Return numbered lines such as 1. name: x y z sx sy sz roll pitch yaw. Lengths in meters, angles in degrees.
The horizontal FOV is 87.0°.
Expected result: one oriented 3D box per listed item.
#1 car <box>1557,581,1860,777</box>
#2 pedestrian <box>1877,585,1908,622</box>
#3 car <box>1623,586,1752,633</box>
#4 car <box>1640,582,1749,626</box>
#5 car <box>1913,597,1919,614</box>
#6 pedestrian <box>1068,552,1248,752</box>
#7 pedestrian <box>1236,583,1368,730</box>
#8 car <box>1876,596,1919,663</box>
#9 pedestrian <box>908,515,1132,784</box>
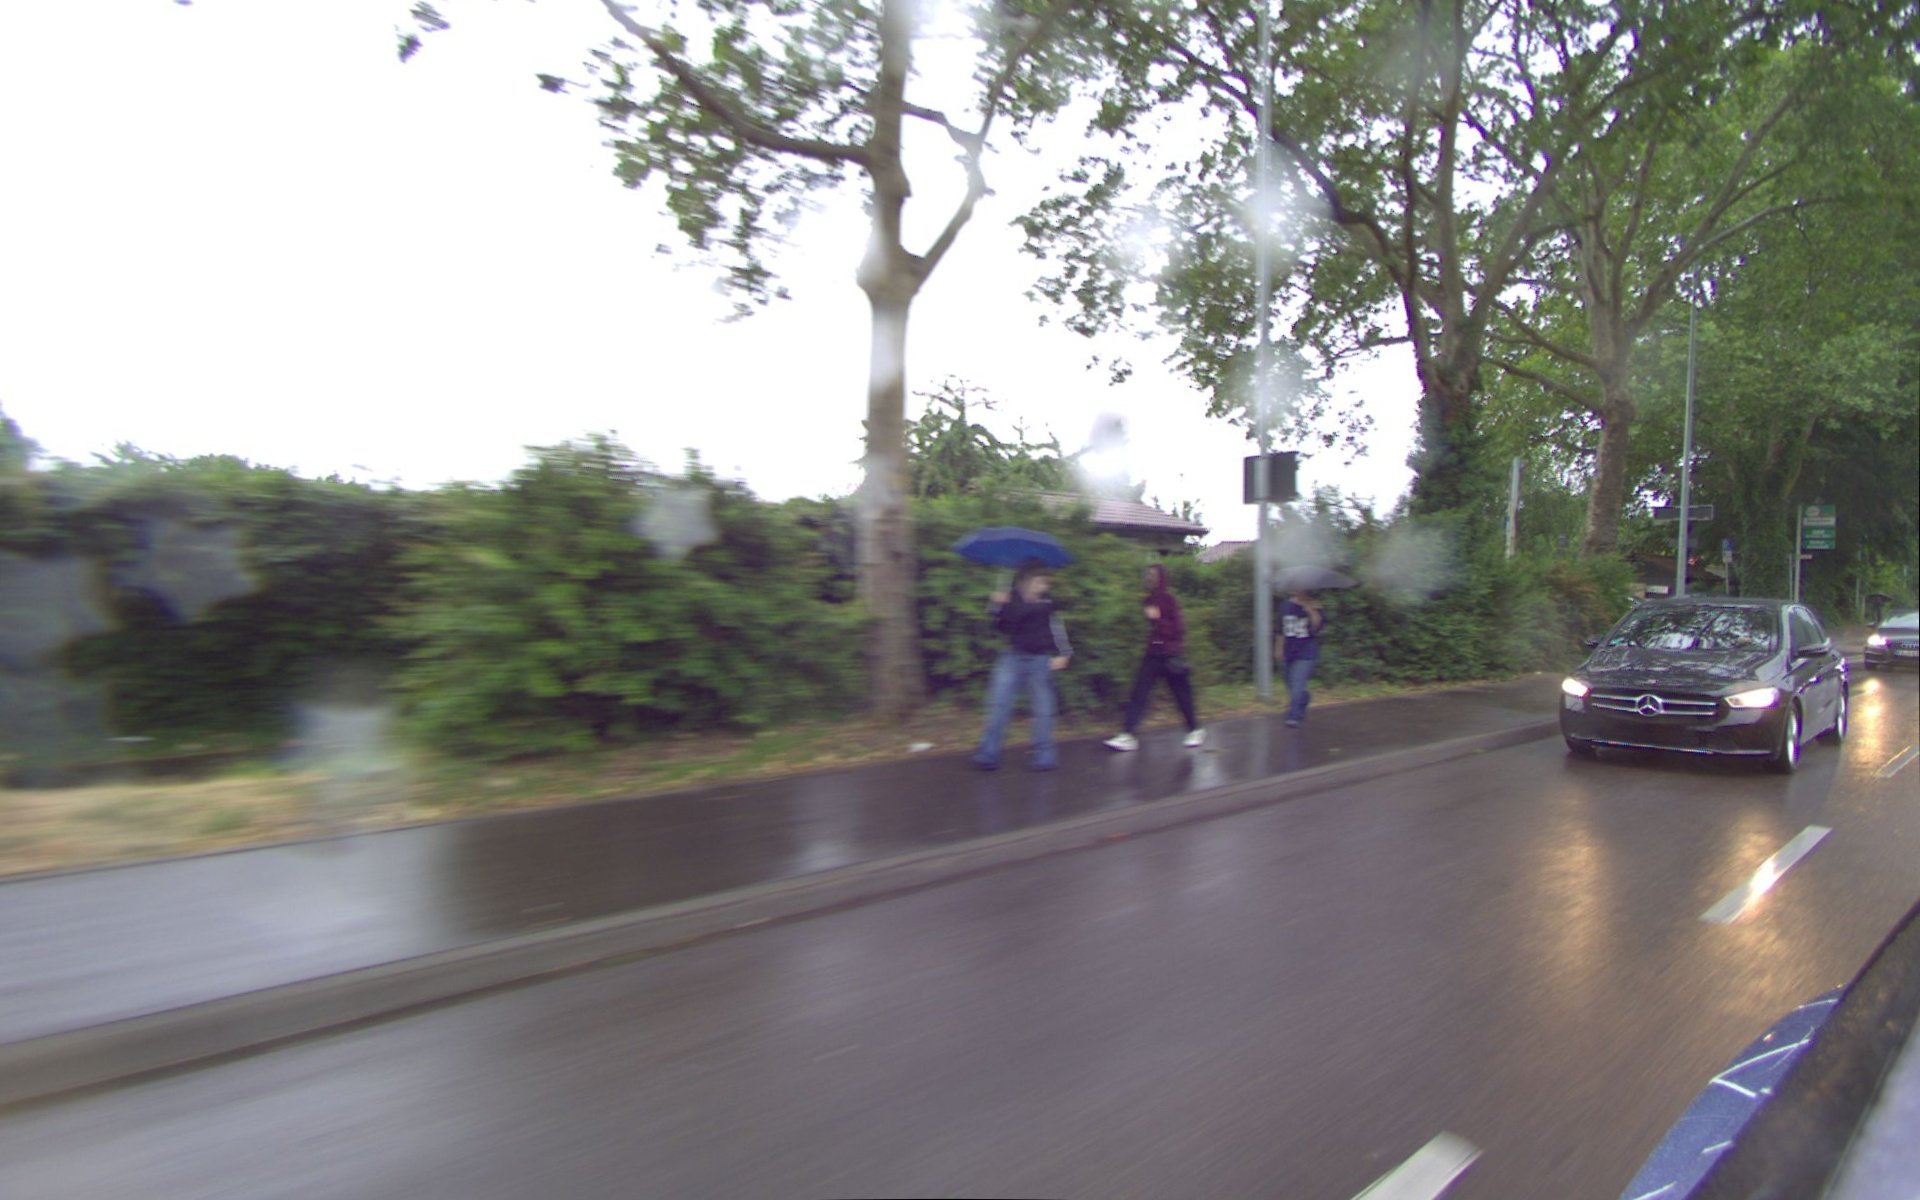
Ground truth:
1. car: 7.661 0.608 10.183 4.350 1.549 1.817 -1 0 -45
2. pedestrian: 44.215 0.186 48.004 1.121 1.724 0.968 1 -2 -42
3. car: 24.843 0.305 34.590 3.381 1.516 1.632 1 0 45
4. car: 28.872 0.146 39.815 3.375 1.629 1.635 1 0 40
5. car: 83.679 0.481 86.301 1.580 1.450 3.550 0 0 6
6. pedestrian: 1.743 0.397 8.901 1.271 1.608 0.949 0 2 -41
7. pedestrian: 3.590 0.548 10.630 0.998 1.407 0.894 0 3 -41
8. car: 21.999 0.621 22.795 3.717 1.402 1.640 -1 1 -42
9. pedestrian: 0.440 0.311 7.639 1.127 1.808 1.242 0 1 -41
